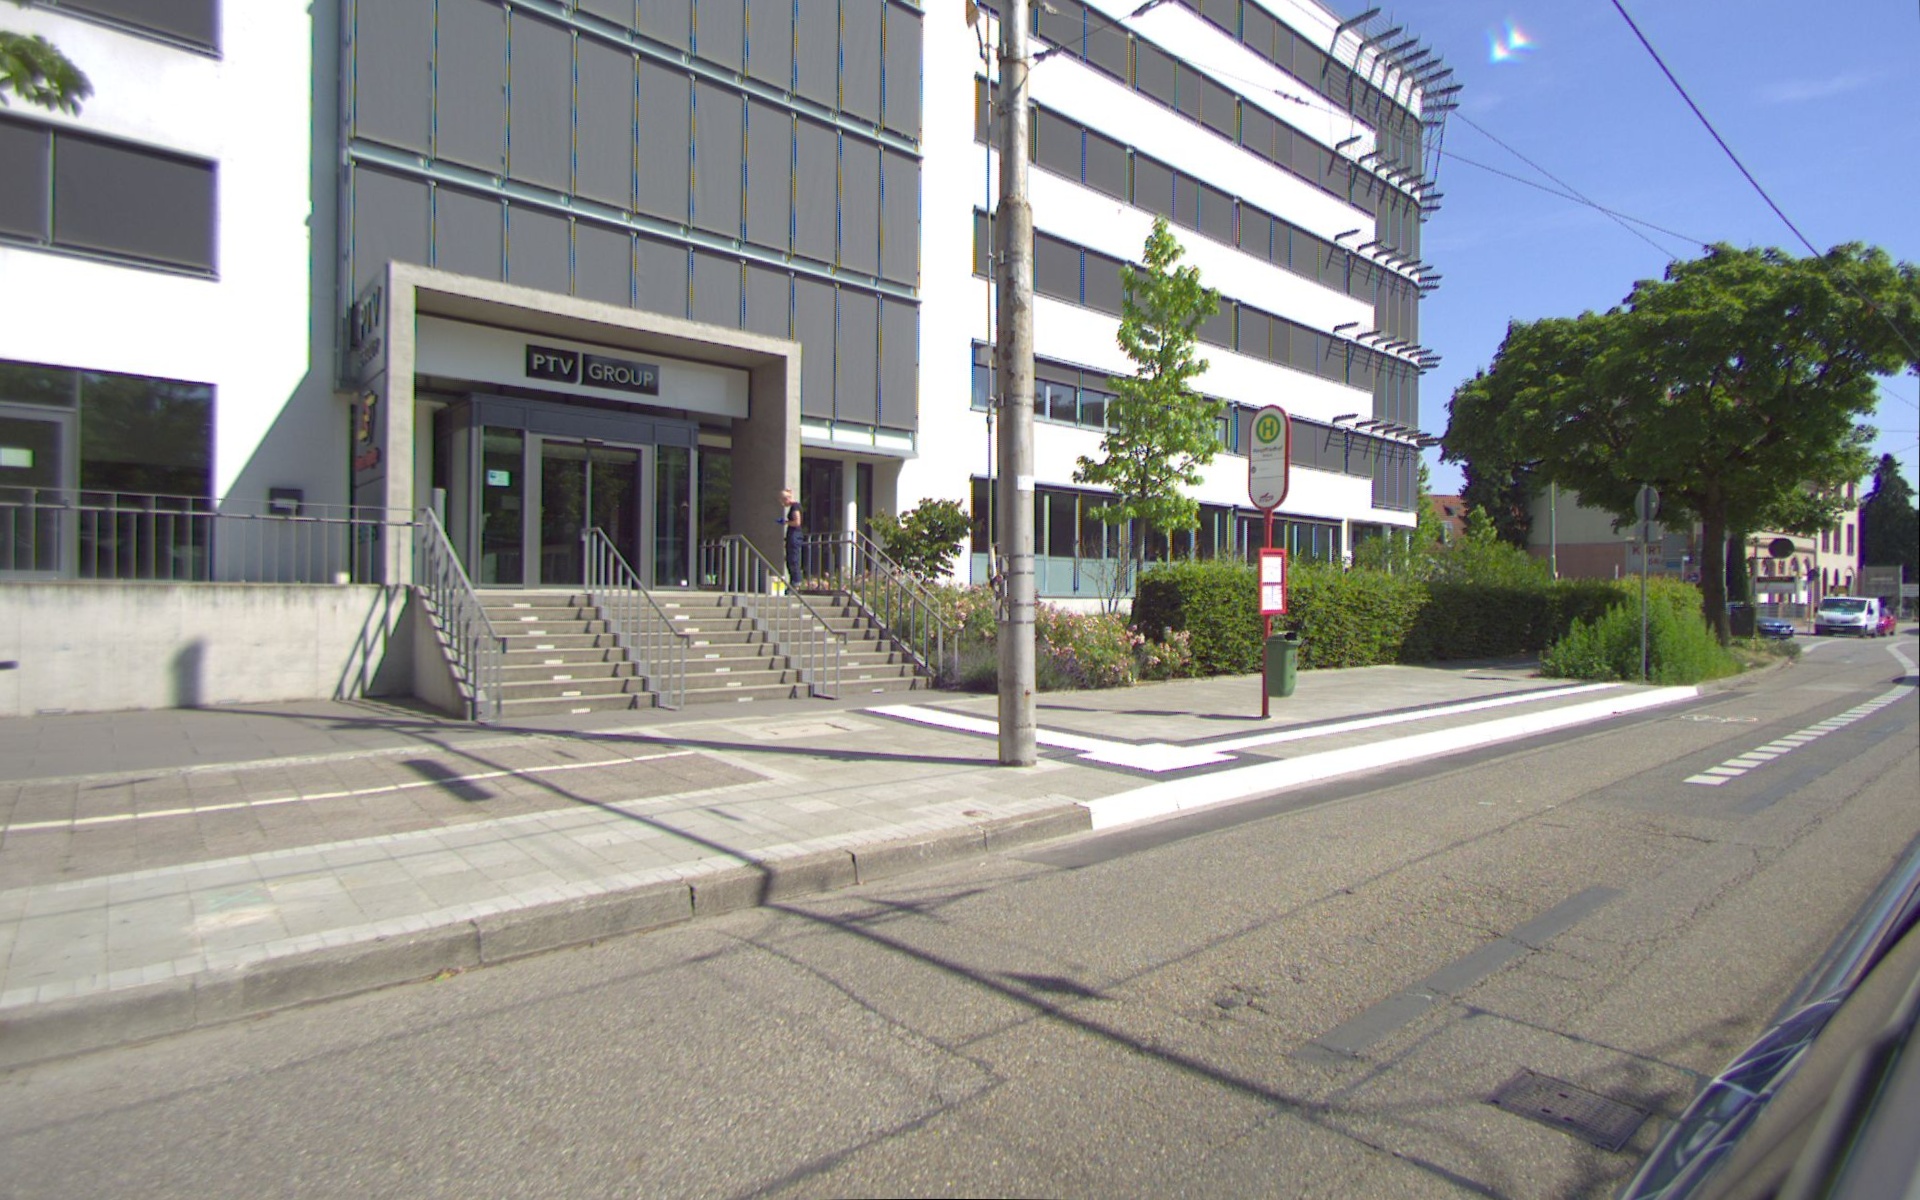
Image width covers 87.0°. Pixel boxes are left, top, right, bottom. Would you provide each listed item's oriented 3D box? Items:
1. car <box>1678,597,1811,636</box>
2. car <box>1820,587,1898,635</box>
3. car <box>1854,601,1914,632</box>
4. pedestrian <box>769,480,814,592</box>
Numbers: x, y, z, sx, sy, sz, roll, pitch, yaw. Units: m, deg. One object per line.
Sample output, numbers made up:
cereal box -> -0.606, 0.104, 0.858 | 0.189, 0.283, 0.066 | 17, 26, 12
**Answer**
car -> 29.853, 0.598, 38.606 | 1.641, 1.405, 3.753 | 0, 0, -39
car -> 42.918, 0.464, 48.292 | 5.098, 2.080, 1.981 | -1, 2, -40
car -> 47.756, 0.843, 52.286 | 4.236, 1.461, 1.726 | 0, 2, -40
pedestrian -> -2.714, -1.011, 16.307 | 0.537, 1.750, 0.499 | 0, 0, -41
